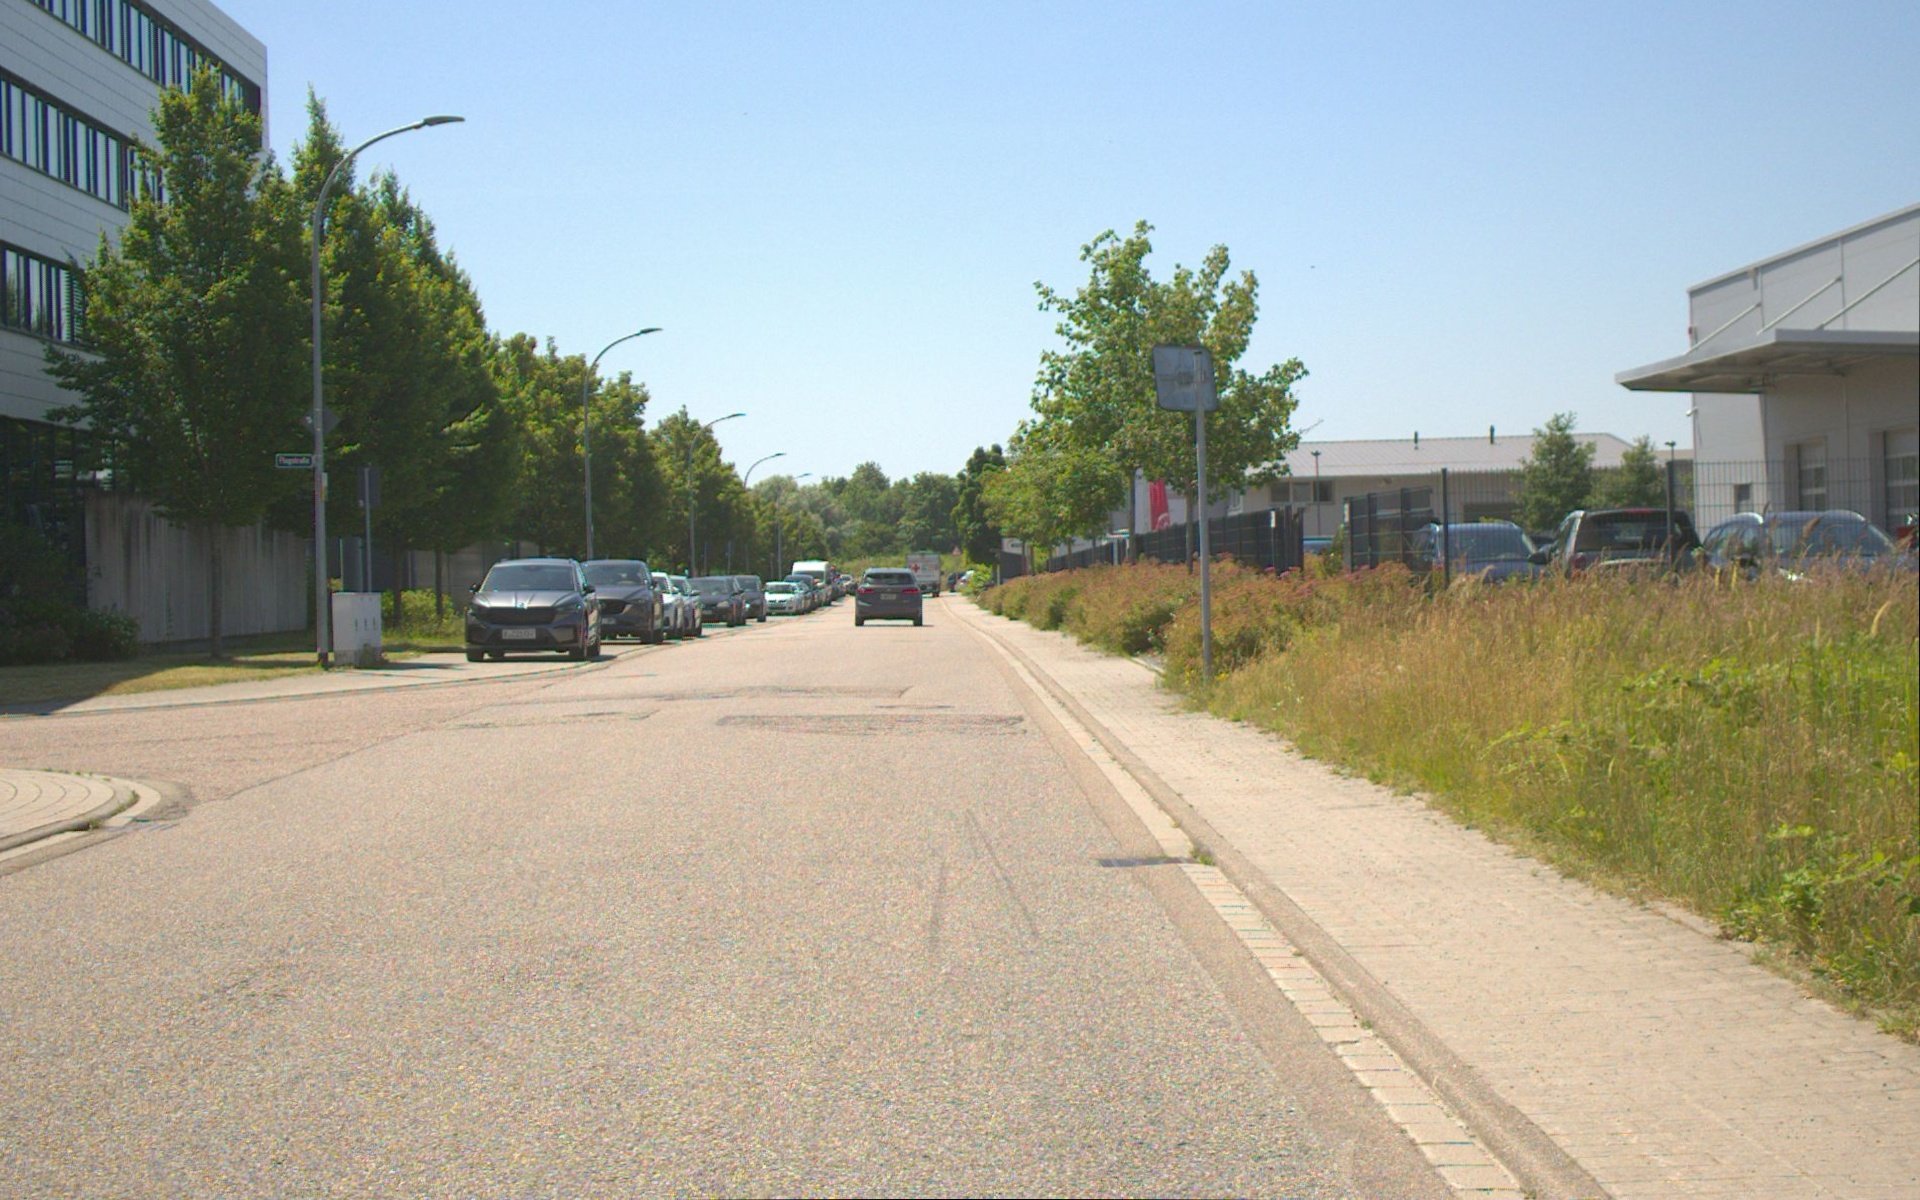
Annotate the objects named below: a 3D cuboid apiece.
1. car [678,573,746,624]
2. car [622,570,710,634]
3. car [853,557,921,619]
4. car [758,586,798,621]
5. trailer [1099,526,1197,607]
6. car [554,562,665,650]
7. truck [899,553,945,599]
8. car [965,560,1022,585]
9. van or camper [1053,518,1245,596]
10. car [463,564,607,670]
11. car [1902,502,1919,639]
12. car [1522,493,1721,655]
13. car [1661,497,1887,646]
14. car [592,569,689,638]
[{"bbox_3d":[-7.378,-0.057,102.568,1.771,1.426,4.201,1,1,-1],"label":"car"},{"bbox_3d":[-6.837,0.030,80.243,1.771,1.426,3.940,1,1,-1],"label":"car"},{"bbox_3d":[-1.962,-0.317,92.877,1.789,1.618,3.809,1,0,-1],"label":"car"},{"bbox_3d":[-8.095,0.147,152.858,1.720,1.471,3.858,-1,0,-3],"label":"car"},{"bbox_3d":[5.983,-1.066,109.584,2.822,2.395,1.420,-3,0,-4],"label":"trailer"},{"bbox_3d":[-6.847,0.092,67.527,1.771,1.618,4.582,1,1,-1],"label":"car"},{"bbox_3d":[-2.482,-1.556,225.448,2.933,2.964,6.419,1,0,0],"label":"truck"},{"bbox_3d":[2.353,-1.915,240.605,3.875,1.744,1.752,1,0,-3],"label":"car"},{"bbox_3d":[6.899,-1.570,125.895,6.757,2.576,2.636,-2,0,-1],"label":"van or camper"},{"bbox_3d":[-6.761,0.256,55.030,1.771,1.582,4.481,-1,0,-1],"label":"car"},{"bbox_3d":[11.271,-0.344,36.447,1.514,1.491,3.332,-2,0,-2],"label":"car"},{"bbox_3d":[6.840,-0.265,35.754,1.466,1.568,2.662,-2,0,-1],"label":"car"},{"bbox_3d":[8.753,-0.299,37.185,1.514,1.491,3.332,-2,0,-2],"label":"car"},{"bbox_3d":[-7.000,0.046,75.598,1.771,1.426,4.201,1,1,-1],"label":"car"}]
